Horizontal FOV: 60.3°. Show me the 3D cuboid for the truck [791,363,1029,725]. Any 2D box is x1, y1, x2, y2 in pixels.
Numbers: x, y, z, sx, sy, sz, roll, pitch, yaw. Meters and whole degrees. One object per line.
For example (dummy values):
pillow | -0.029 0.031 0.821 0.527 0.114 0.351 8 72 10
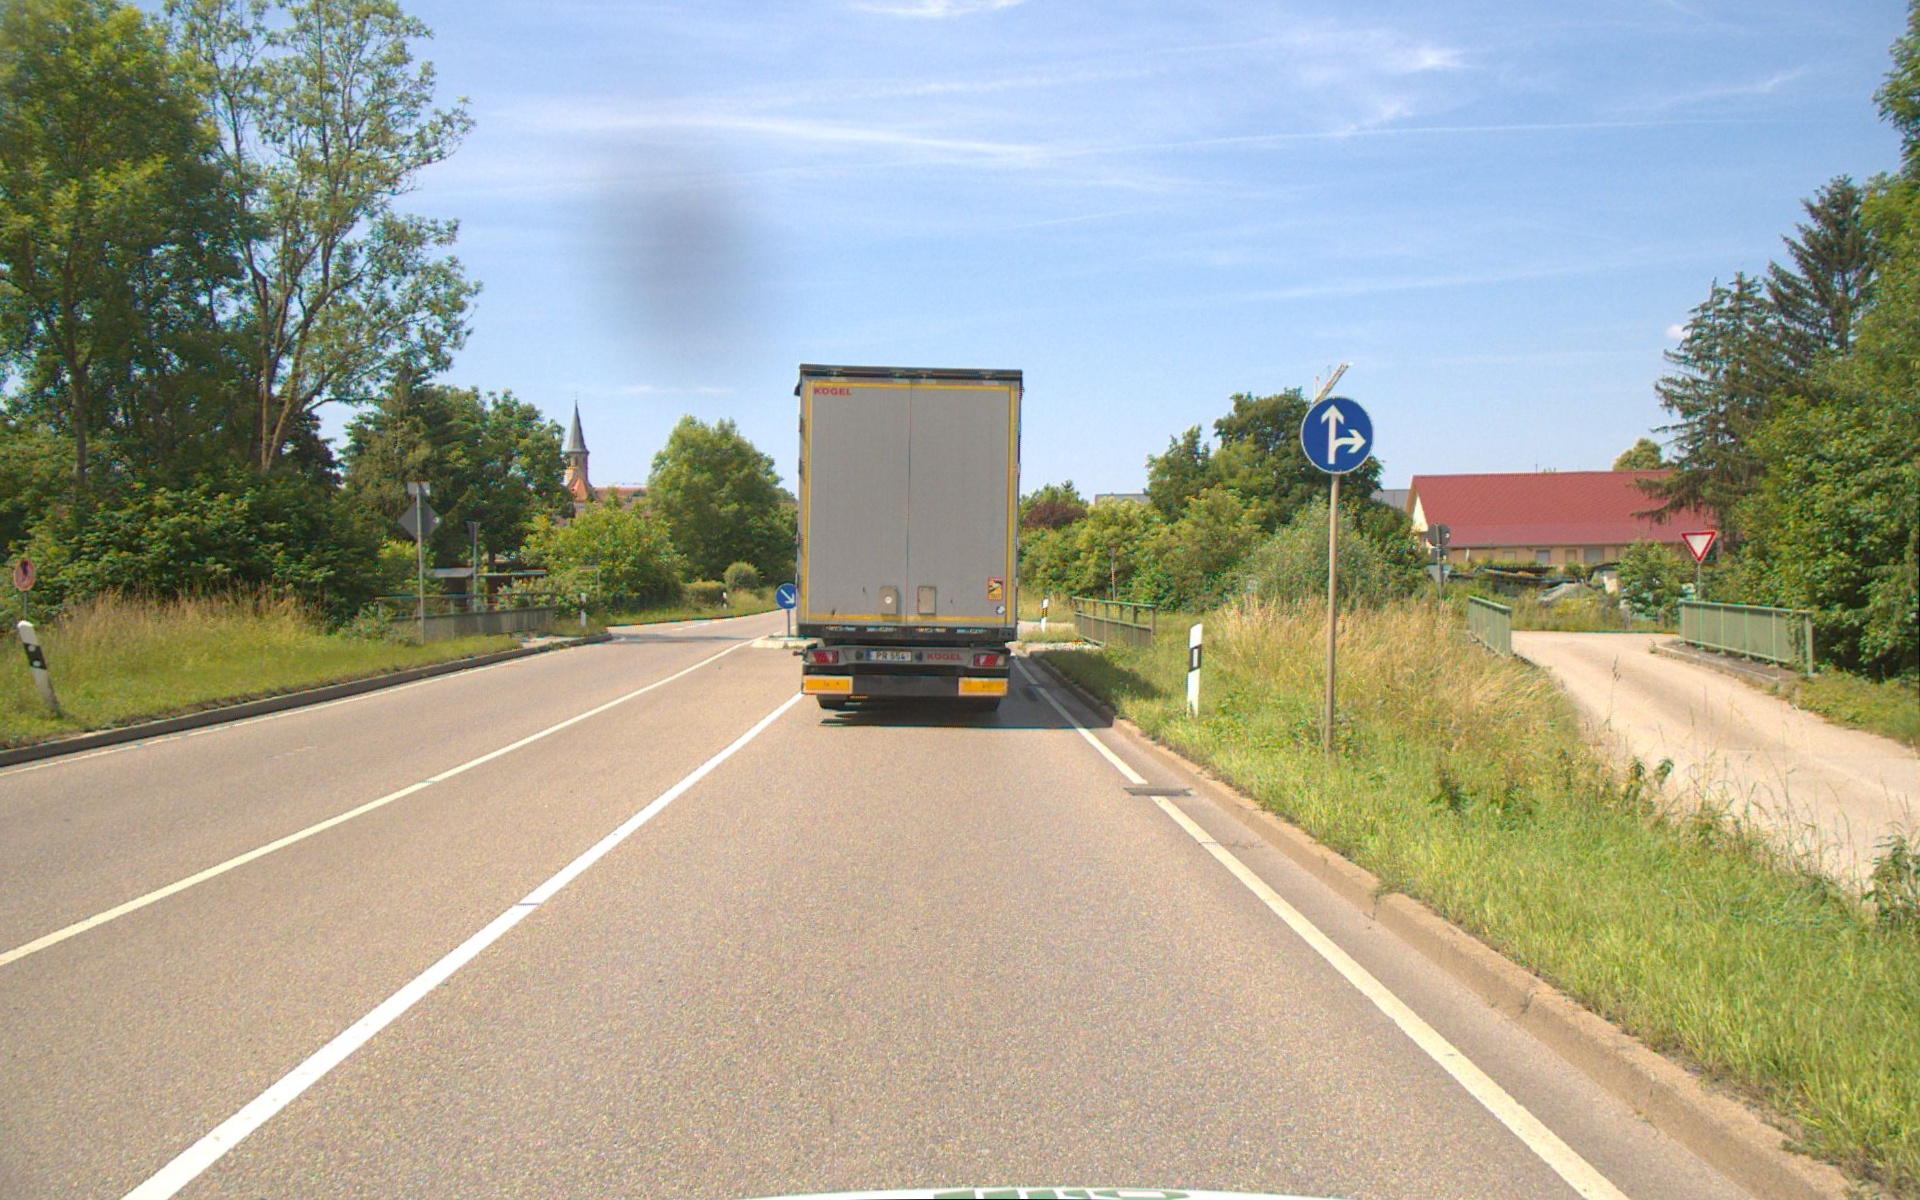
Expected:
truck | -0.725 -0.640 22.817 2.594 3.985 8.821 1 0 -2
